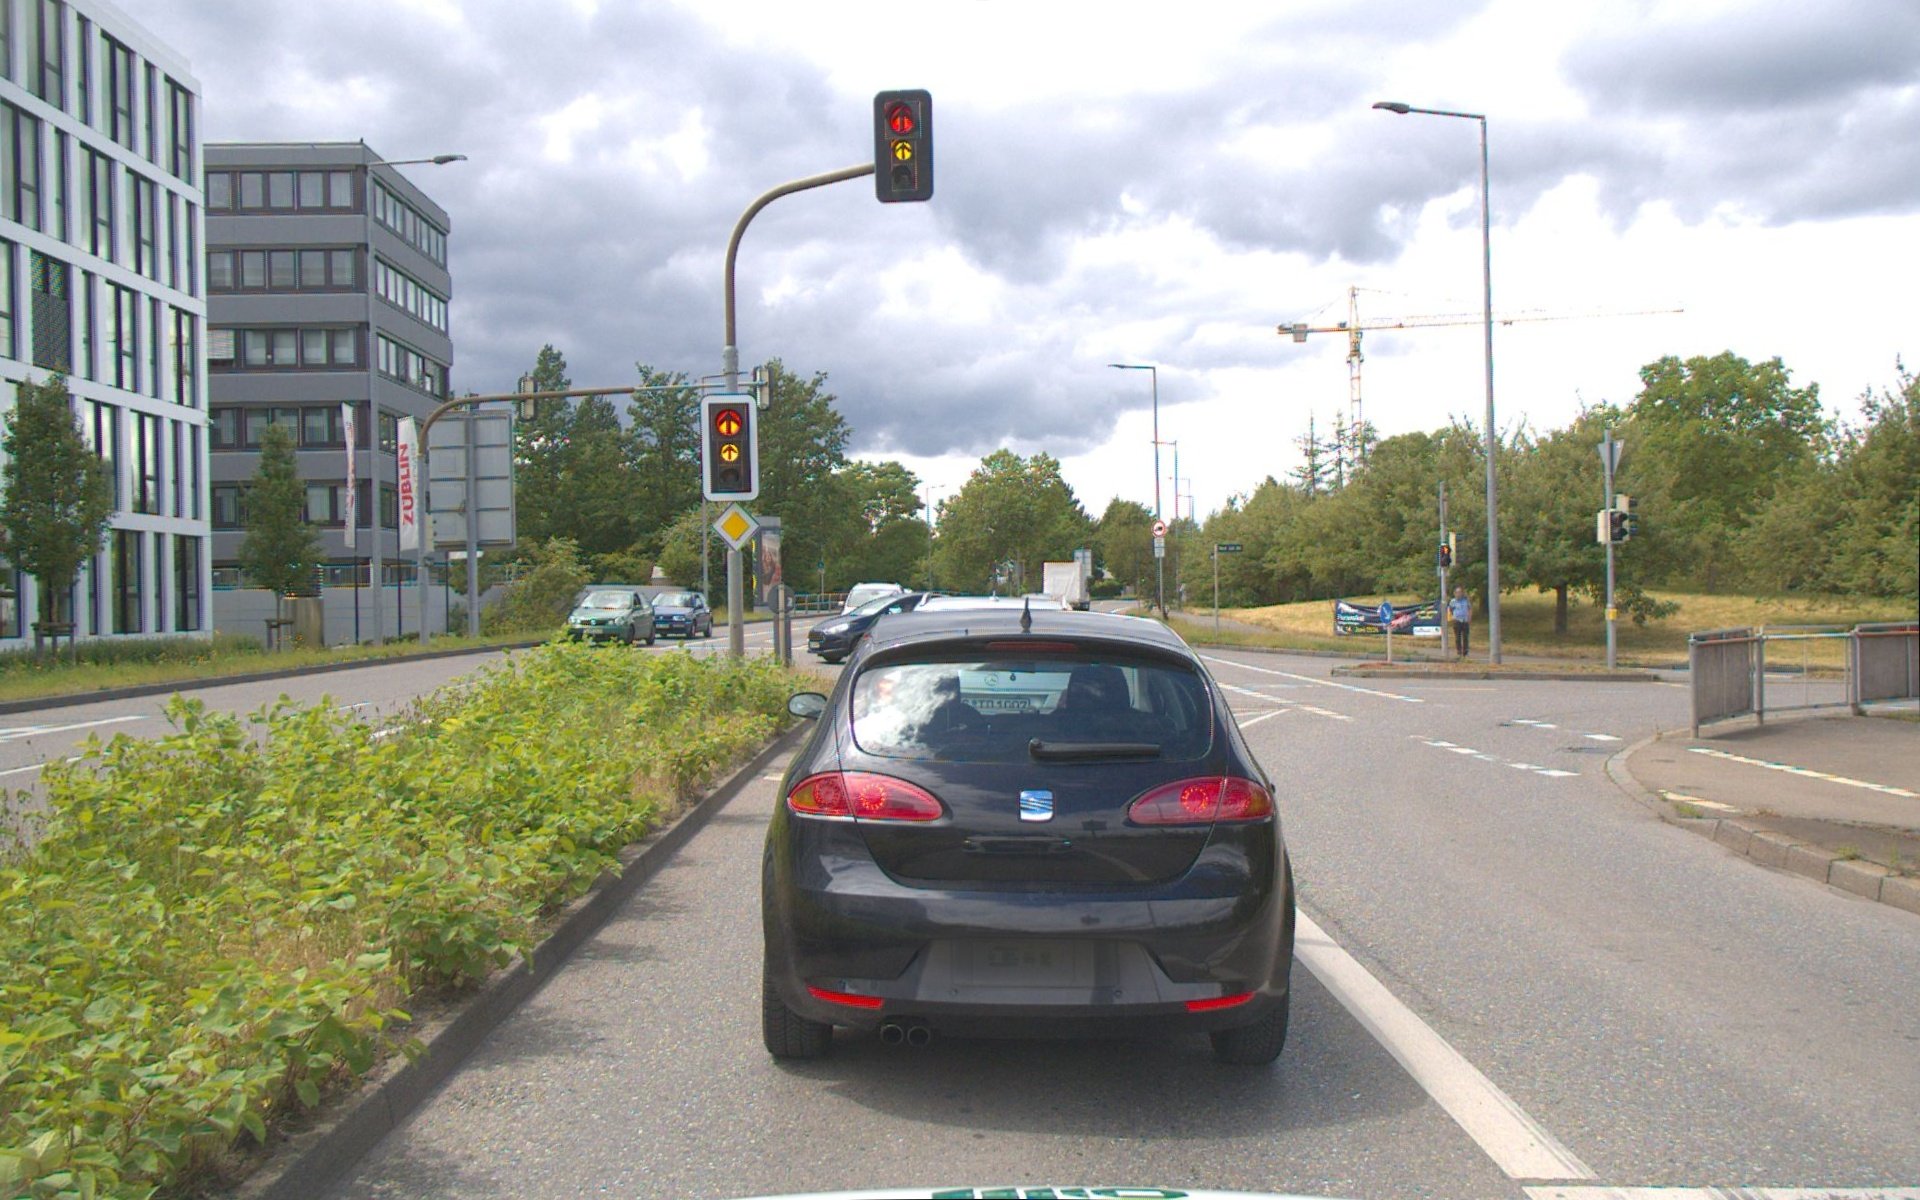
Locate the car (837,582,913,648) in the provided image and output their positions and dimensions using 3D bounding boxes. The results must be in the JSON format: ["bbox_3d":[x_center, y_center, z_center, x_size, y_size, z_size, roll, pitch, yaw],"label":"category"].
[{"bbox_3d":[-2.323,0.380,46.180,1.783,1.716,4.646,1,1,1],"label":"car"}]

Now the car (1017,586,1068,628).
[{"bbox_3d":[3.262,0.245,65.388,1.952,1.593,4.473,0,0,3],"label":"car"}]

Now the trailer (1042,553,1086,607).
[{"bbox_3d":[6.386,-1.188,101.074,2.438,3.127,5.590,1,0,6],"label":"trailer"}]

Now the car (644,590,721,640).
[{"bbox_3d":[-8.478,0.423,50.760,1.521,1.444,3.897,1,1,3],"label":"car"}]

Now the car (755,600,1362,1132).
[{"bbox_3d":[0.259,0.745,6.340,1.676,1.442,3.459,1,0,-1],"label":"car"}]

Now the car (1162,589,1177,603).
[{"bbox_3d":[25.278,-0.520,199.359,1.631,1.624,4.003,1,0,9],"label":"car"}]

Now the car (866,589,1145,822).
[{"bbox_3d":[0.312,0.696,12.679,1.797,1.493,3.751,1,0,0],"label":"car"}]

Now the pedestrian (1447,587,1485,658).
[{"bbox_3d":[13.101,0.578,42.840,0.703,1.824,1.044,1,0,3],"label":"pedestrian"}]

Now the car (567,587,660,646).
[{"bbox_3d":[-9.032,0.406,43.356,1.572,1.457,3.753,0,0,1],"label":"car"}]

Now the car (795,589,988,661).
[{"bbox_3d":[-1.481,0.548,35.728,3.827,1.471,1.747,1,0,-23],"label":"car"}]
